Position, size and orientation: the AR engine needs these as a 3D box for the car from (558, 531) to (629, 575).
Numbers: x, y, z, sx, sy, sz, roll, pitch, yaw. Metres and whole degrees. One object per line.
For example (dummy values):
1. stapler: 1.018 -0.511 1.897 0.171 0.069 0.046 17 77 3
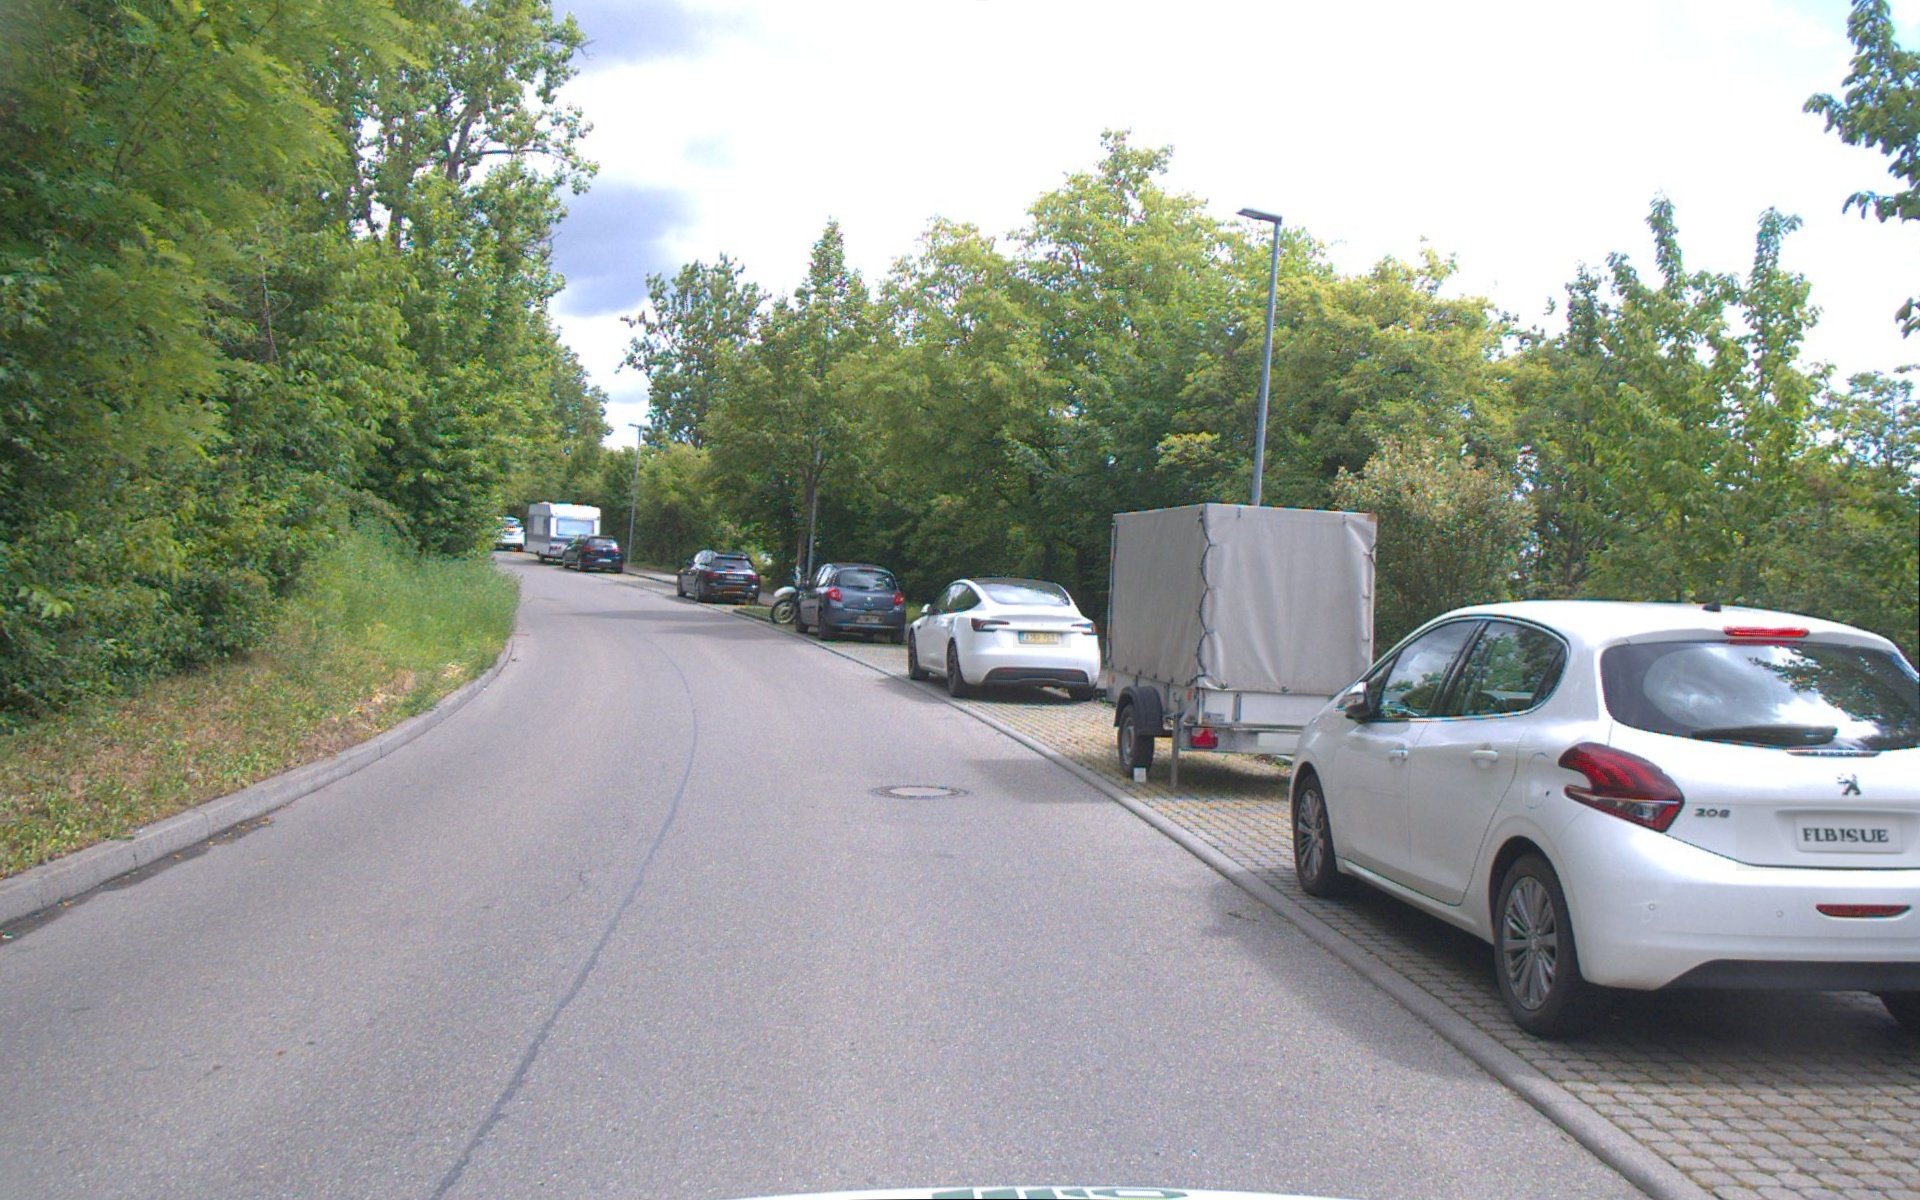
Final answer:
1. car: -14.680 -1.896 66.015 1.662 1.475 4.442 3 2 -27

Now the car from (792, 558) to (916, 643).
1. car: -2.208 -0.029 33.396 1.739 1.544 4.093 2 1 -14

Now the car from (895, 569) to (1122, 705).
1. car: 0.493 0.401 21.921 1.830 1.502 4.887 1 2 -13

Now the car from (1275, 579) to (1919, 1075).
1. car: 2.672 0.686 6.975 1.672 1.503 3.780 1 0 -5

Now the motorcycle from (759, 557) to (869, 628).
1. motorcycle: -3.254 -0.182 36.983 2.256 1.501 0.976 2 1 9

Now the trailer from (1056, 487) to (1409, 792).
1. trailer: 2.037 0.271 13.478 1.698 2.114 3.775 1 0 -9

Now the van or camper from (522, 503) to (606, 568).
1. van or camper: -17.087 -2.815 71.206 2.327 2.597 5.031 2 3 -27

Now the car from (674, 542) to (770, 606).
1. car: -6.970 -0.782 48.095 1.865 1.556 4.522 3 2 -19

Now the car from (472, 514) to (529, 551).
1. car: -22.967 -3.402 82.557 1.785 1.627 4.332 2 3 -29
